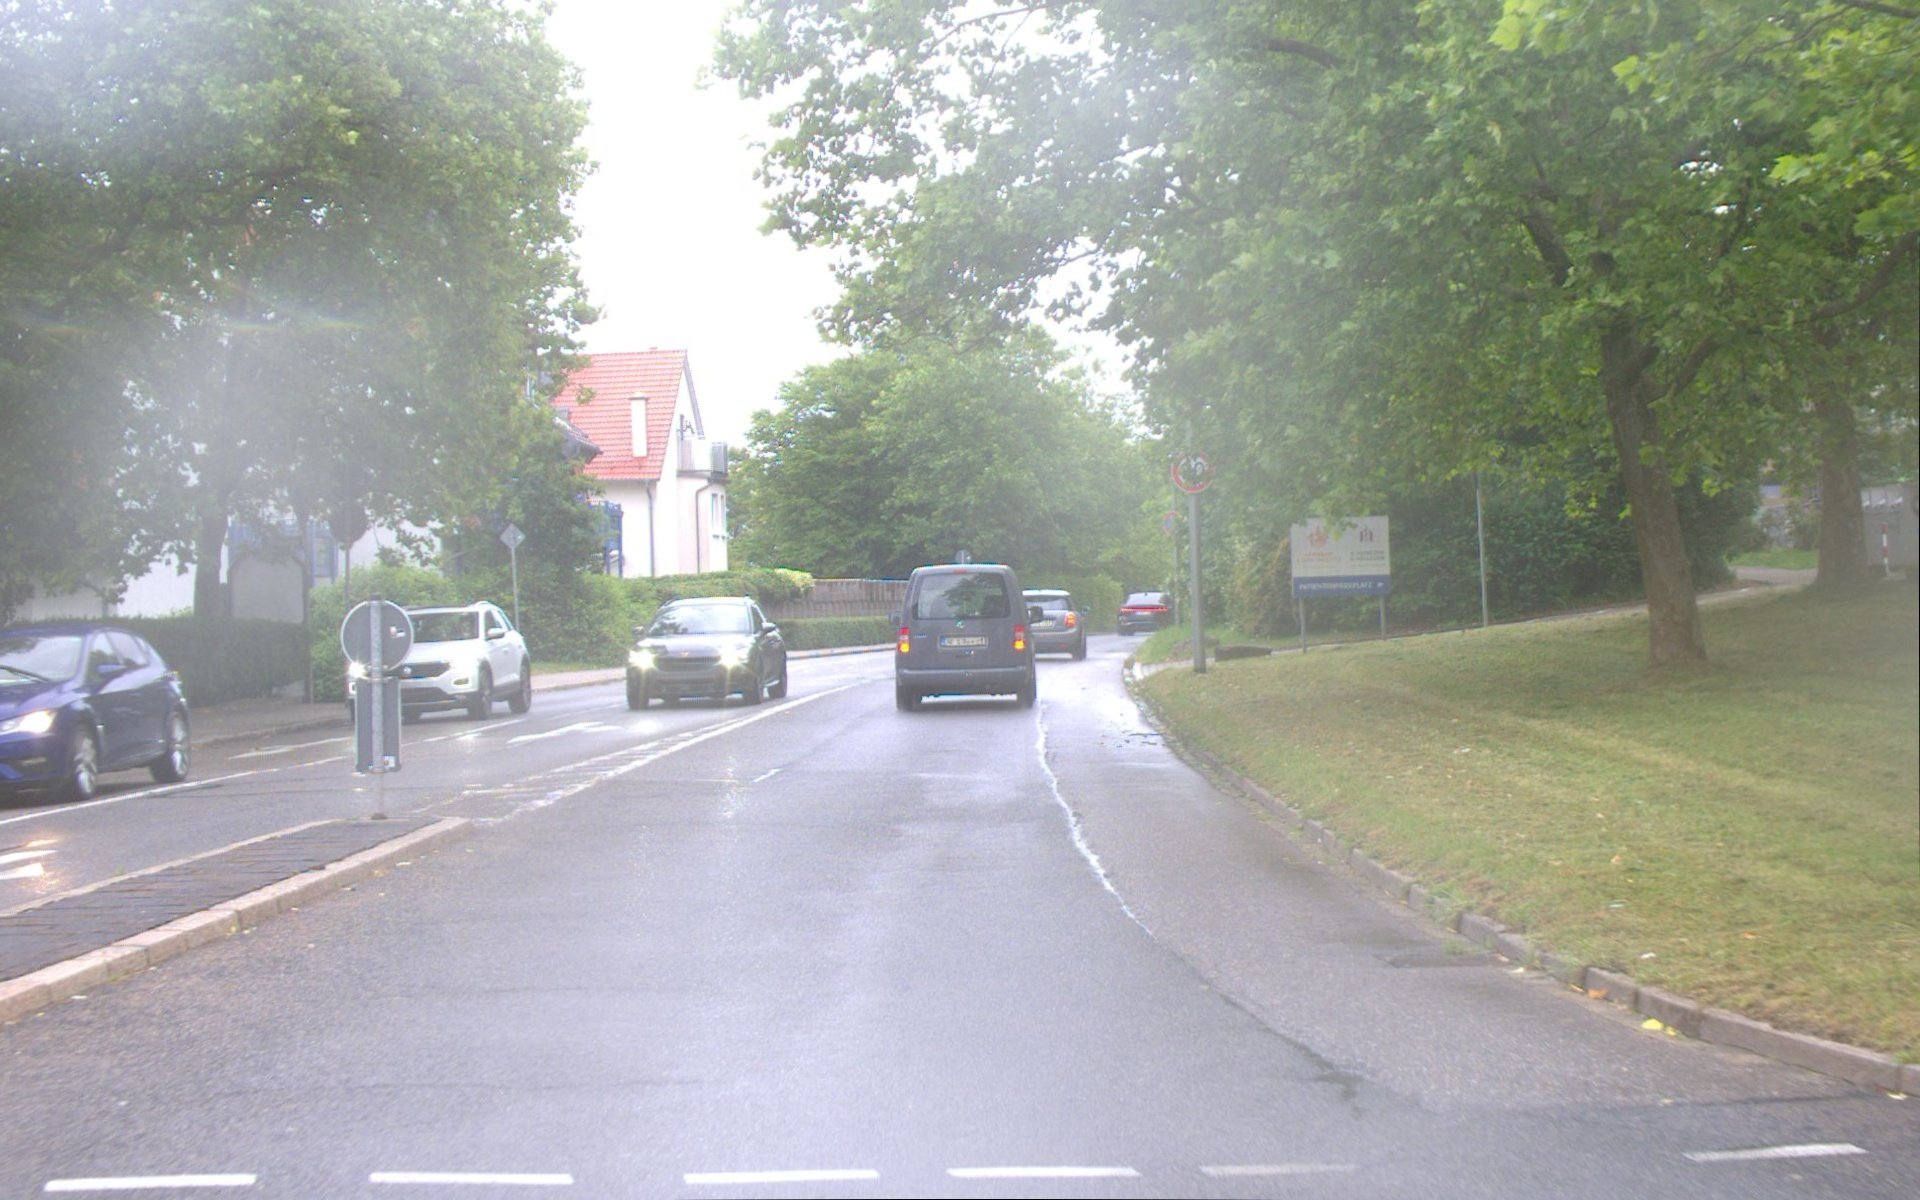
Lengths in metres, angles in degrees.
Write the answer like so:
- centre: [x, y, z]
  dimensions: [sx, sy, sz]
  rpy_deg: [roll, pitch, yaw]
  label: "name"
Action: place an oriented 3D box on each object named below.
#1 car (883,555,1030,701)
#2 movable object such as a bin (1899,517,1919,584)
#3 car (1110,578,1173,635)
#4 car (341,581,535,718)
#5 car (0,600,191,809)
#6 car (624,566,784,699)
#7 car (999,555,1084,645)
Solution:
- centre: [-0.023, 0.357, 44.581]
  dimensions: [1.812, 1.802, 3.756]
  rpy_deg: [0, 0, 1]
  label: "car"
- centre: [12.954, -0.665, 46.525]
  dimensions: [0.450, 0.902, 0.462]
  rpy_deg: [0, 0, 19]
  label: "movable object such as a bin"
- centre: [6.104, 0.217, 115.683]
  dimensions: [1.993, 1.875, 4.000]
  rpy_deg: [0, 0, 1]
  label: "car"
- centre: [-6.950, 0.628, 46.151]
  dimensions: [1.830, 1.666, 4.051]
  rpy_deg: [-2, 1, 2]
  label: "car"
- centre: [-7.803, 0.822, 28.440]
  dimensions: [1.793, 1.522, 4.209]
  rpy_deg: [-2, 1, 2]
  label: "car"
- centre: [-3.430, 0.403, 46.676]
  dimensions: [1.747, 1.666, 3.707]
  rpy_deg: [-2, 1, 2]
  label: "car"
- centre: [1.671, 0.009, 71.508]
  dimensions: [1.705, 1.802, 3.684]
  rpy_deg: [0, 0, 1]
  label: "car"
